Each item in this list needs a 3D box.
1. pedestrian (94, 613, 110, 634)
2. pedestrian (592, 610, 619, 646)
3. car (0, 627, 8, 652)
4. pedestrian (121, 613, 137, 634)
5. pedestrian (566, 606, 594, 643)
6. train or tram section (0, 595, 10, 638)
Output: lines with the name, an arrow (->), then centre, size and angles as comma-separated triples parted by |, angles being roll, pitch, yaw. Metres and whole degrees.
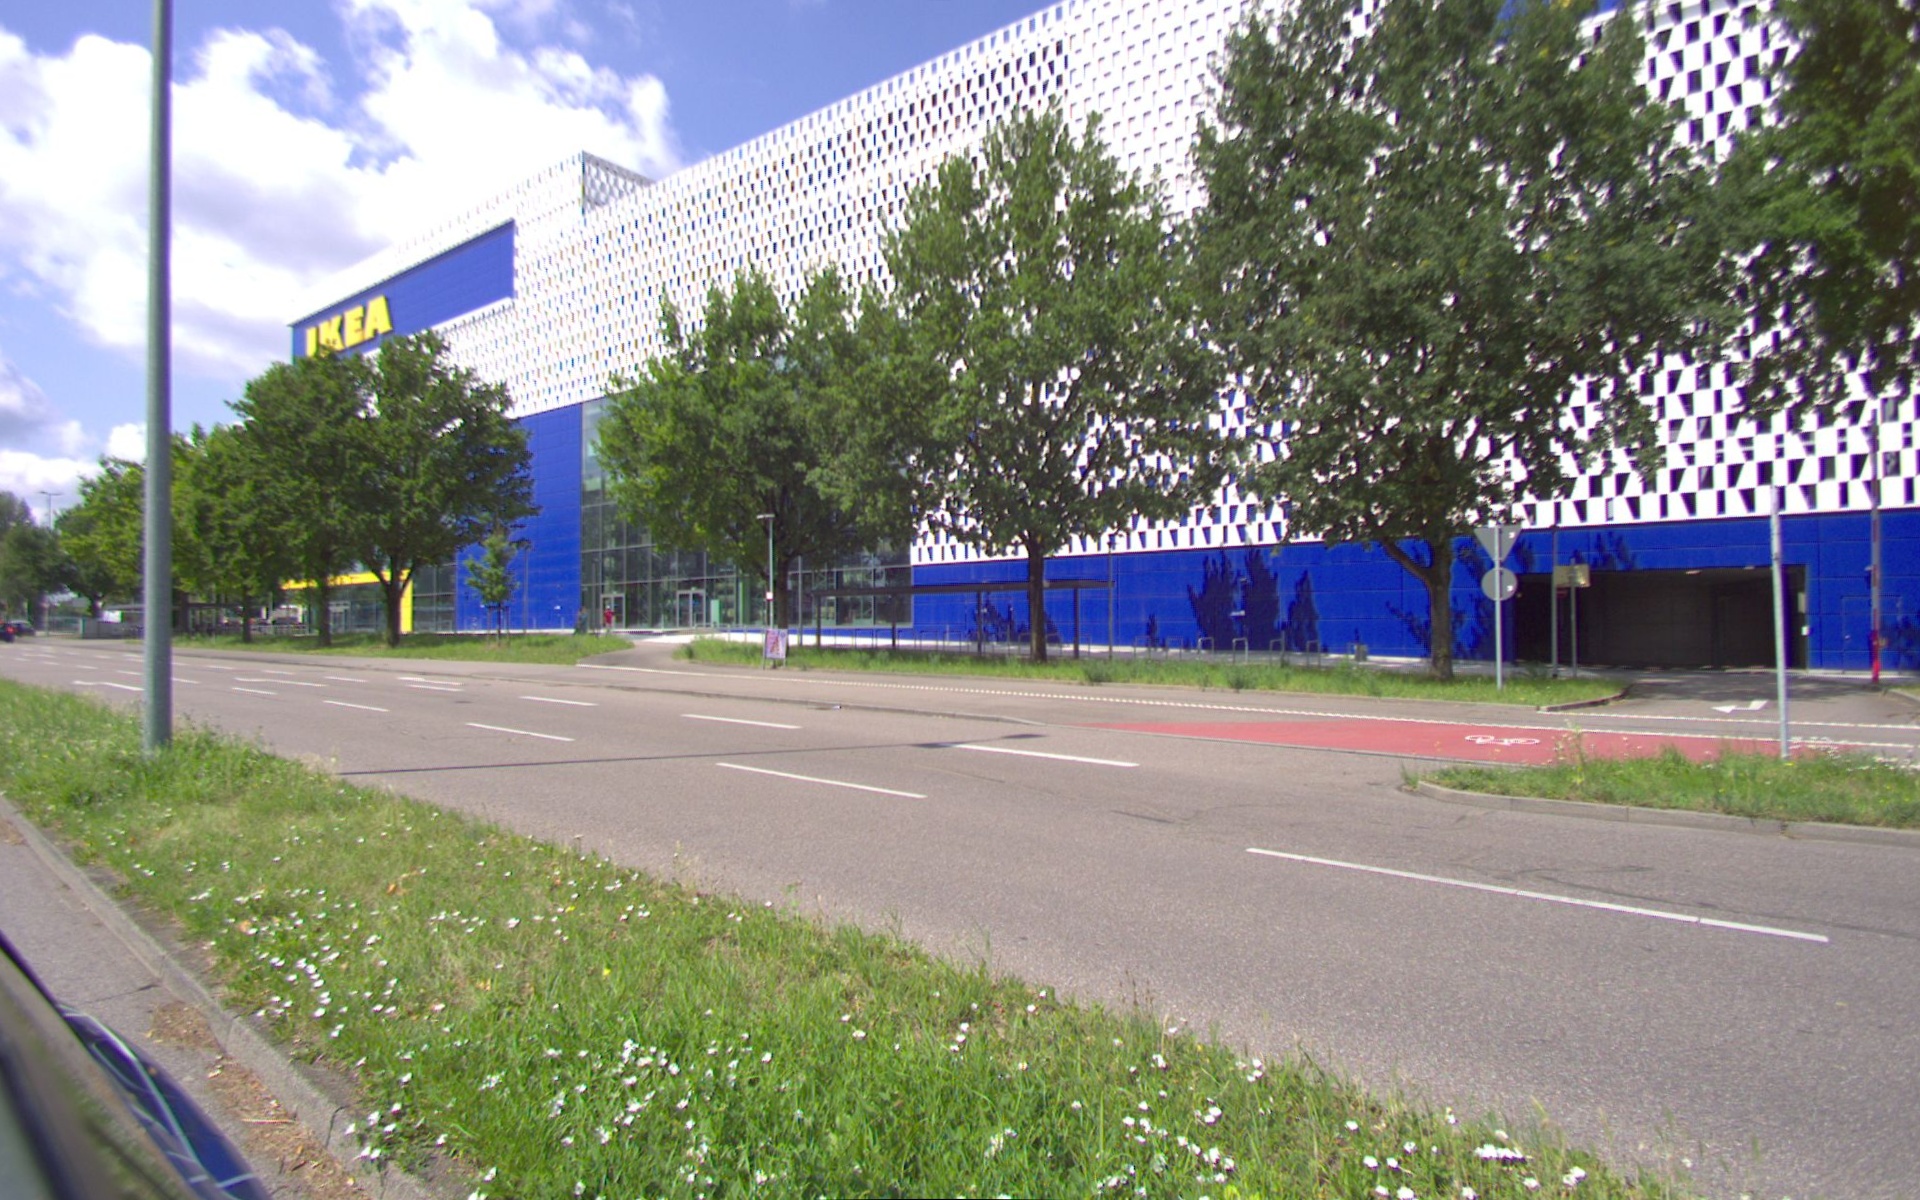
pedestrian -> -88.757, 2.459, 104.726 | 0.807, 2.110, 1.041 | -1, 0, -8
pedestrian -> -17.588, 1.373, 50.217 | 1.165, 1.741, 0.842 | -1, 0, 43
car -> -70.987, 2.898, 73.826 | 3.998, 1.696, 1.916 | -1, 0, 41
pedestrian -> -86.666, 2.435, 105.572 | 0.807, 2.110, 1.041 | -1, 0, -8
pedestrian -> -18.578, 1.177, 49.427 | 1.165, 1.741, 0.842 | -1, 0, 43
train or tram section -> -110.478, 1.834, 107.999 | 3.727, 4.708, 12.938 | -1, 0, 38
